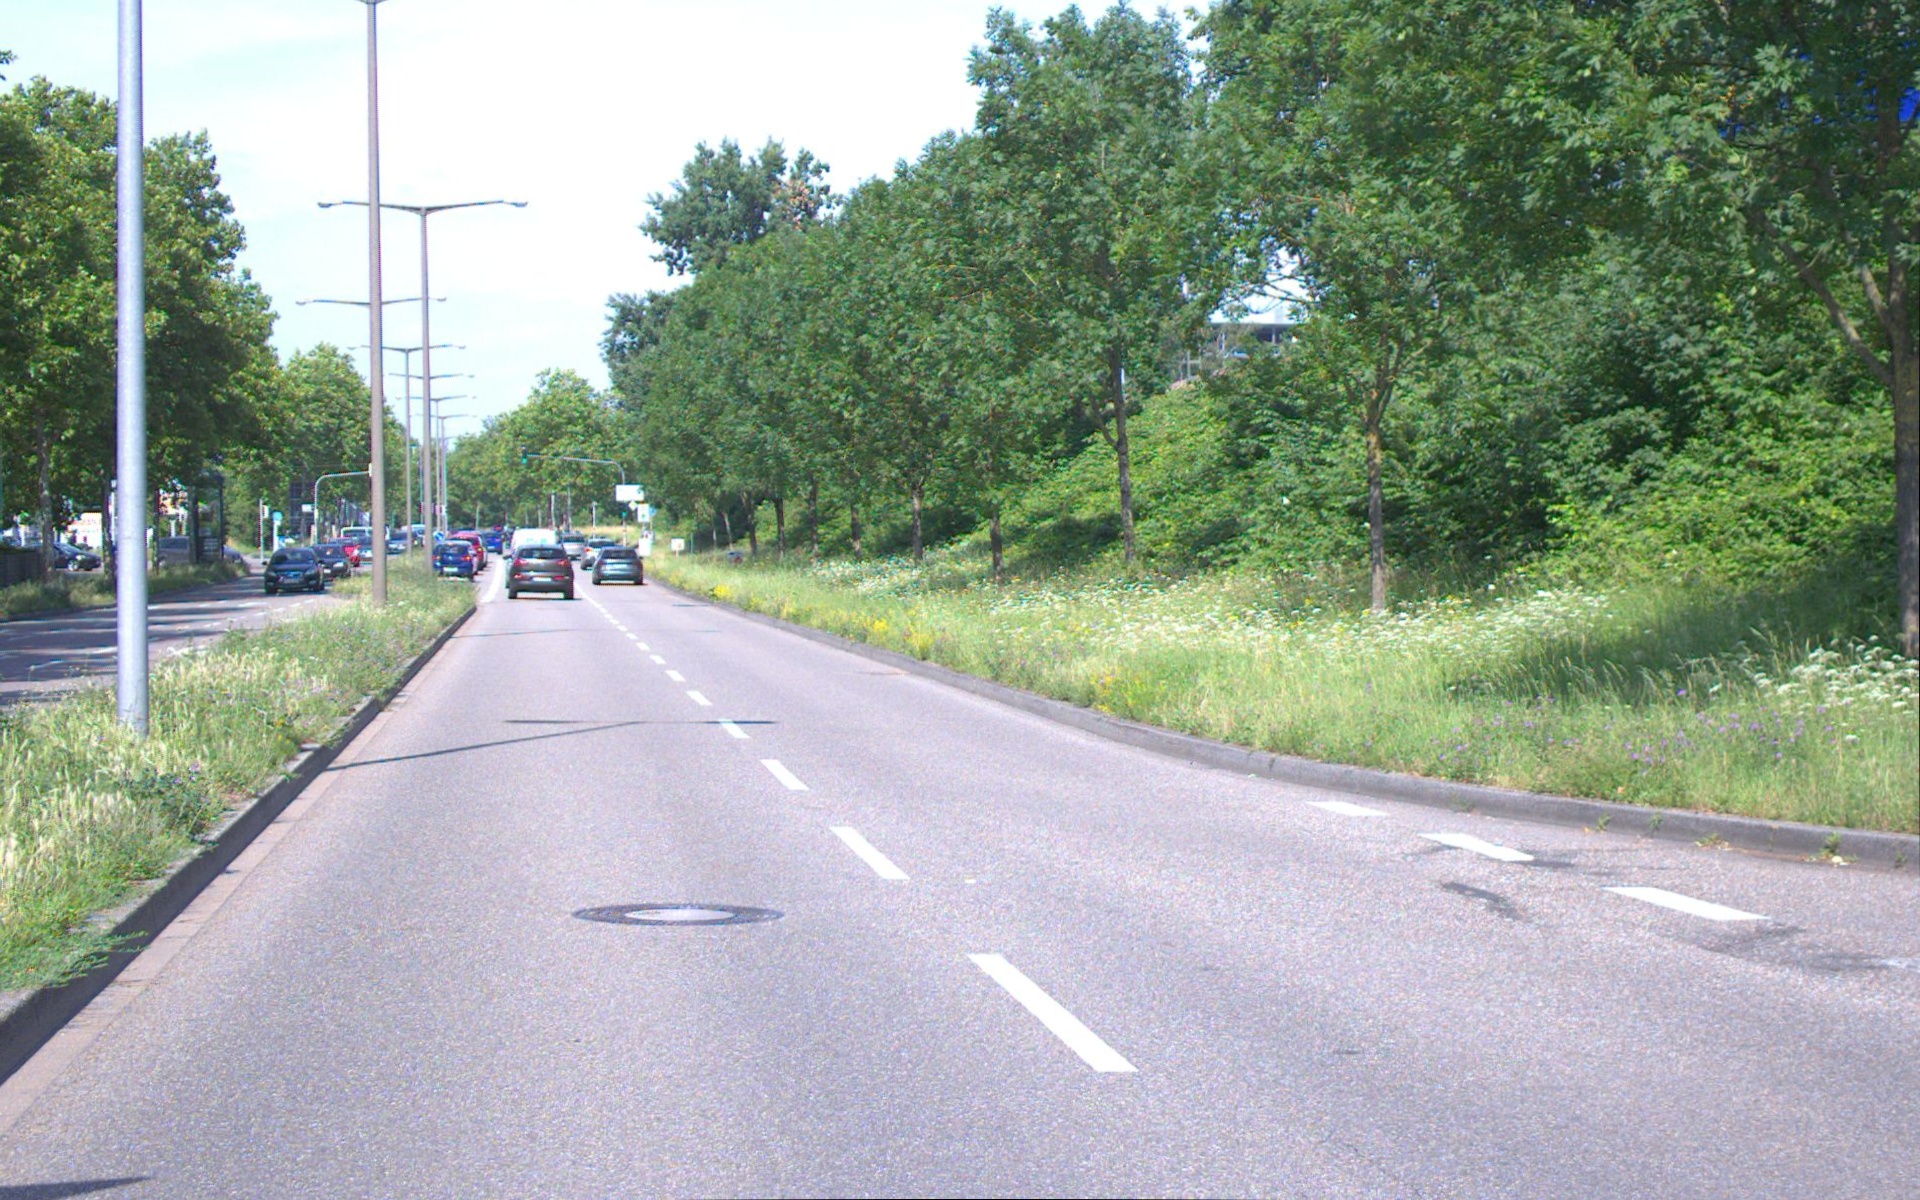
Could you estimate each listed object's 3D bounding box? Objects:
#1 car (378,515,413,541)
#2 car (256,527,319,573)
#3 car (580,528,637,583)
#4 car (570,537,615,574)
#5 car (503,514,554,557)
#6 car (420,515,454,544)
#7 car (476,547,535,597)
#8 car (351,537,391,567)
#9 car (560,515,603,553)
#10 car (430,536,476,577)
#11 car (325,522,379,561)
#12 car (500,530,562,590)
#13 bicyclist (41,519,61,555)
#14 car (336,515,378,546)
[{"bbox_3d":[-38.458,-4.887,234.297,1.993,1.769,4.001,-1,1,-5],"label":"car"},{"bbox_3d":[-22.258,-1.664,113.905,1.826,1.462,4.989,-1,1,-9],"label":"car"},{"bbox_3d":[-13.066,-1.665,127.653,2.017,1.831,4.002,0,3,-7],"label":"car"},{"bbox_3d":[-17.297,-2.105,161.561,1.993,1.702,4.264,-1,1,-7],"label":"car"},{"bbox_3d":[-17.315,-2.593,138.132,1.993,1.702,4.264,-1,1,-7],"label":"car"},{"bbox_3d":[-34.510,-4.650,226.792,1.993,1.853,4.001,-1,1,-6],"label":"car"},{"bbox_3d":[-15.812,-0.993,119.600,1.993,1.678,4.001,0,2,-7],"label":"car"},{"bbox_3d":[-30.731,-2.509,179.426,1.839,1.473,4.167,-1,1,-7],"label":"car"},{"bbox_3d":[-20.567,-3.579,186.832,1.993,2.007,4.001,0,1,-11],"label":"car"},{"bbox_3d":[-19.010,-1.640,129.006,1.626,1.478,4.049,1,1,-8],"label":"car"},{"bbox_3d":[-24.026,-2.315,135.970,1.772,1.462,4.672,-1,1,-7],"label":"car"},{"bbox_3d":[-12.396,-1.162,99.349,1.736,1.530,4.002,0,3,-7],"label":"car"},{"bbox_3d":[-38.459,-2.668,145.434,0.681,1.480,0.942,-1,1,-7],"label":"bicyclist"},{"bbox_3d":[-29.796,-3.444,170.013,1.763,1.457,4.001,-2,1,-6],"label":"car"}]
